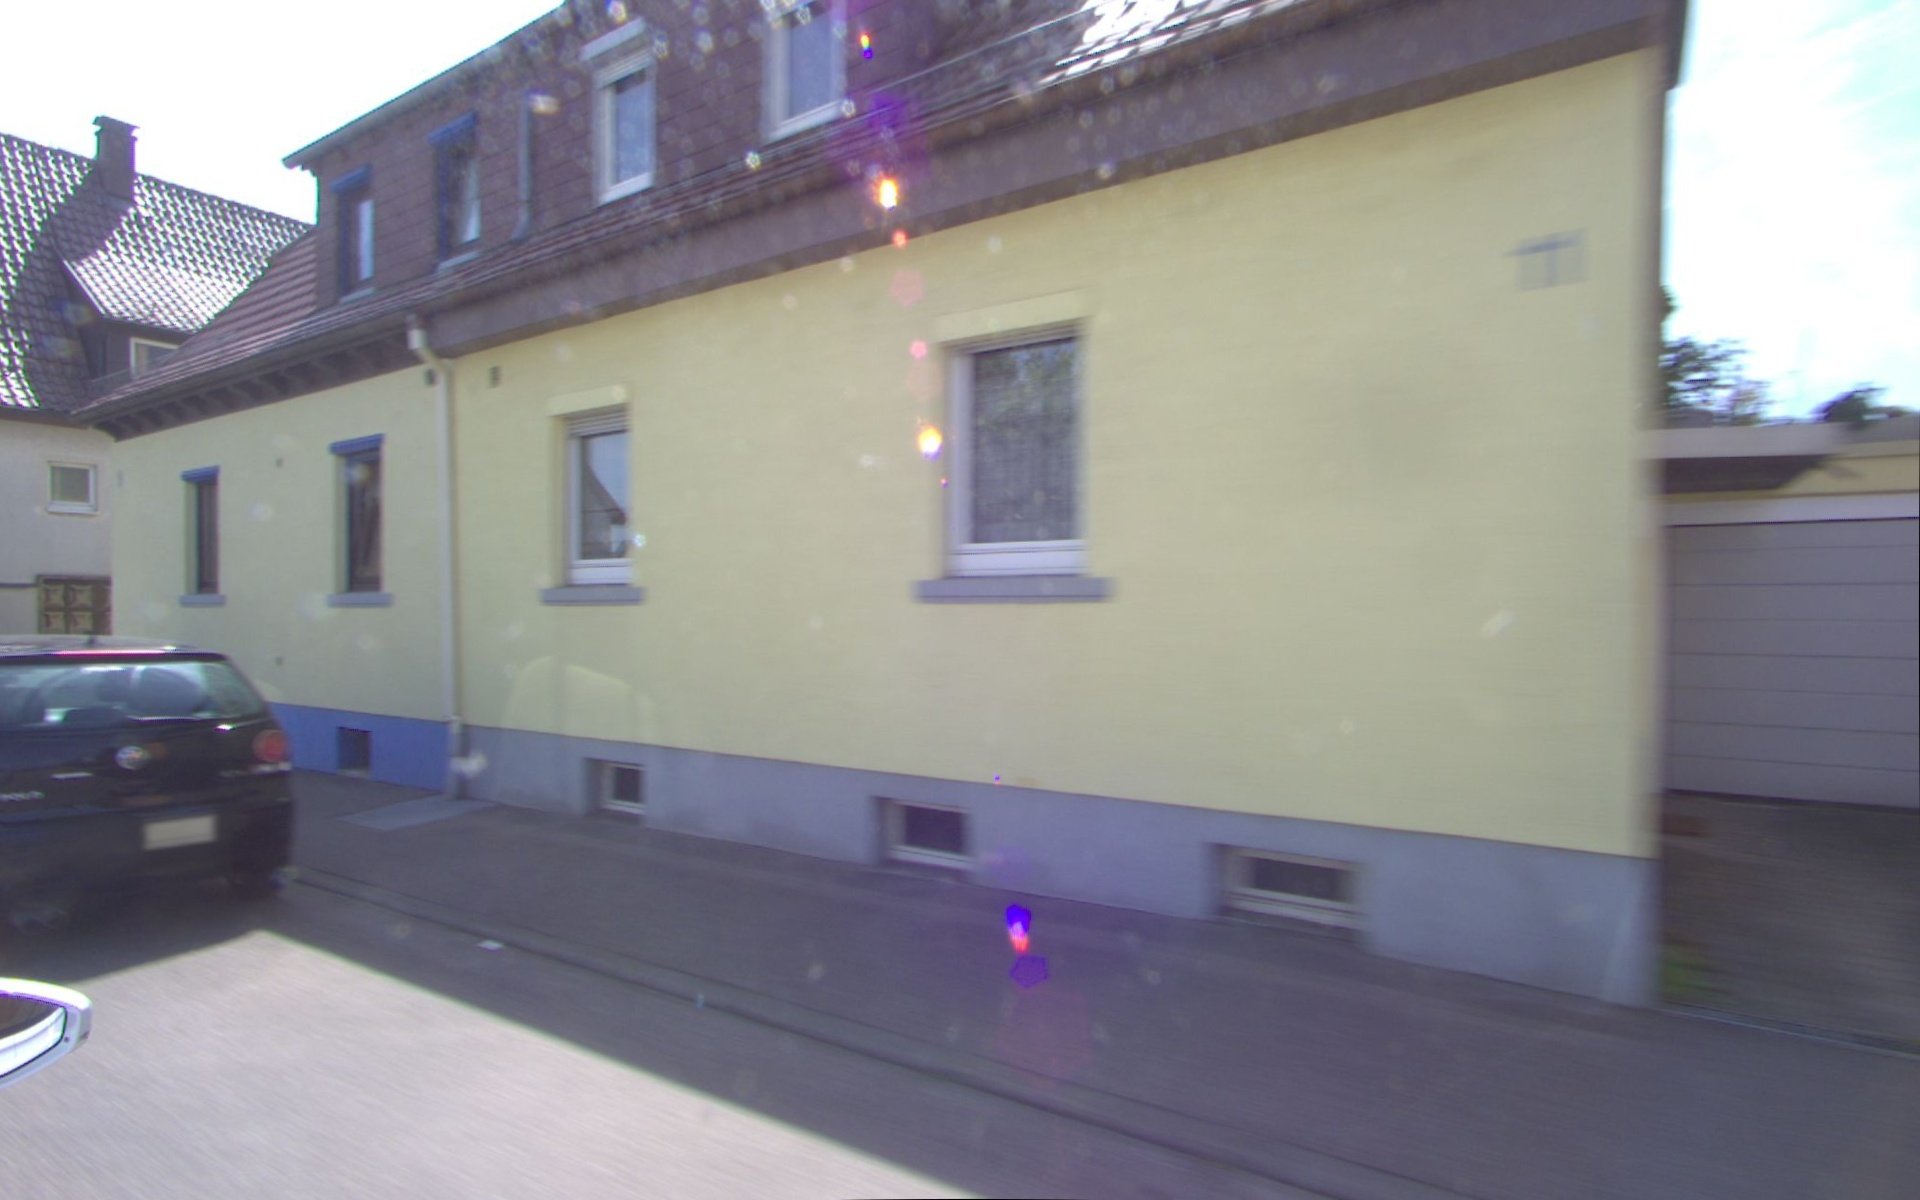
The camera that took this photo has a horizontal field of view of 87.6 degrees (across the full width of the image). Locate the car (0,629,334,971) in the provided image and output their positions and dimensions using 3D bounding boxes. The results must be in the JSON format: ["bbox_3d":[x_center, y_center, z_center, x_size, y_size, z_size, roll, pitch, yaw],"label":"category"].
[{"bbox_3d":[-5.349,0.891,5.716,3.701,1.449,1.608,-1,-2,33],"label":"car"}]

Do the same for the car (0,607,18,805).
[{"bbox_3d":[-10.004,0.873,8.760,4.195,1.620,1.724,-1,-2,35],"label":"car"}]
